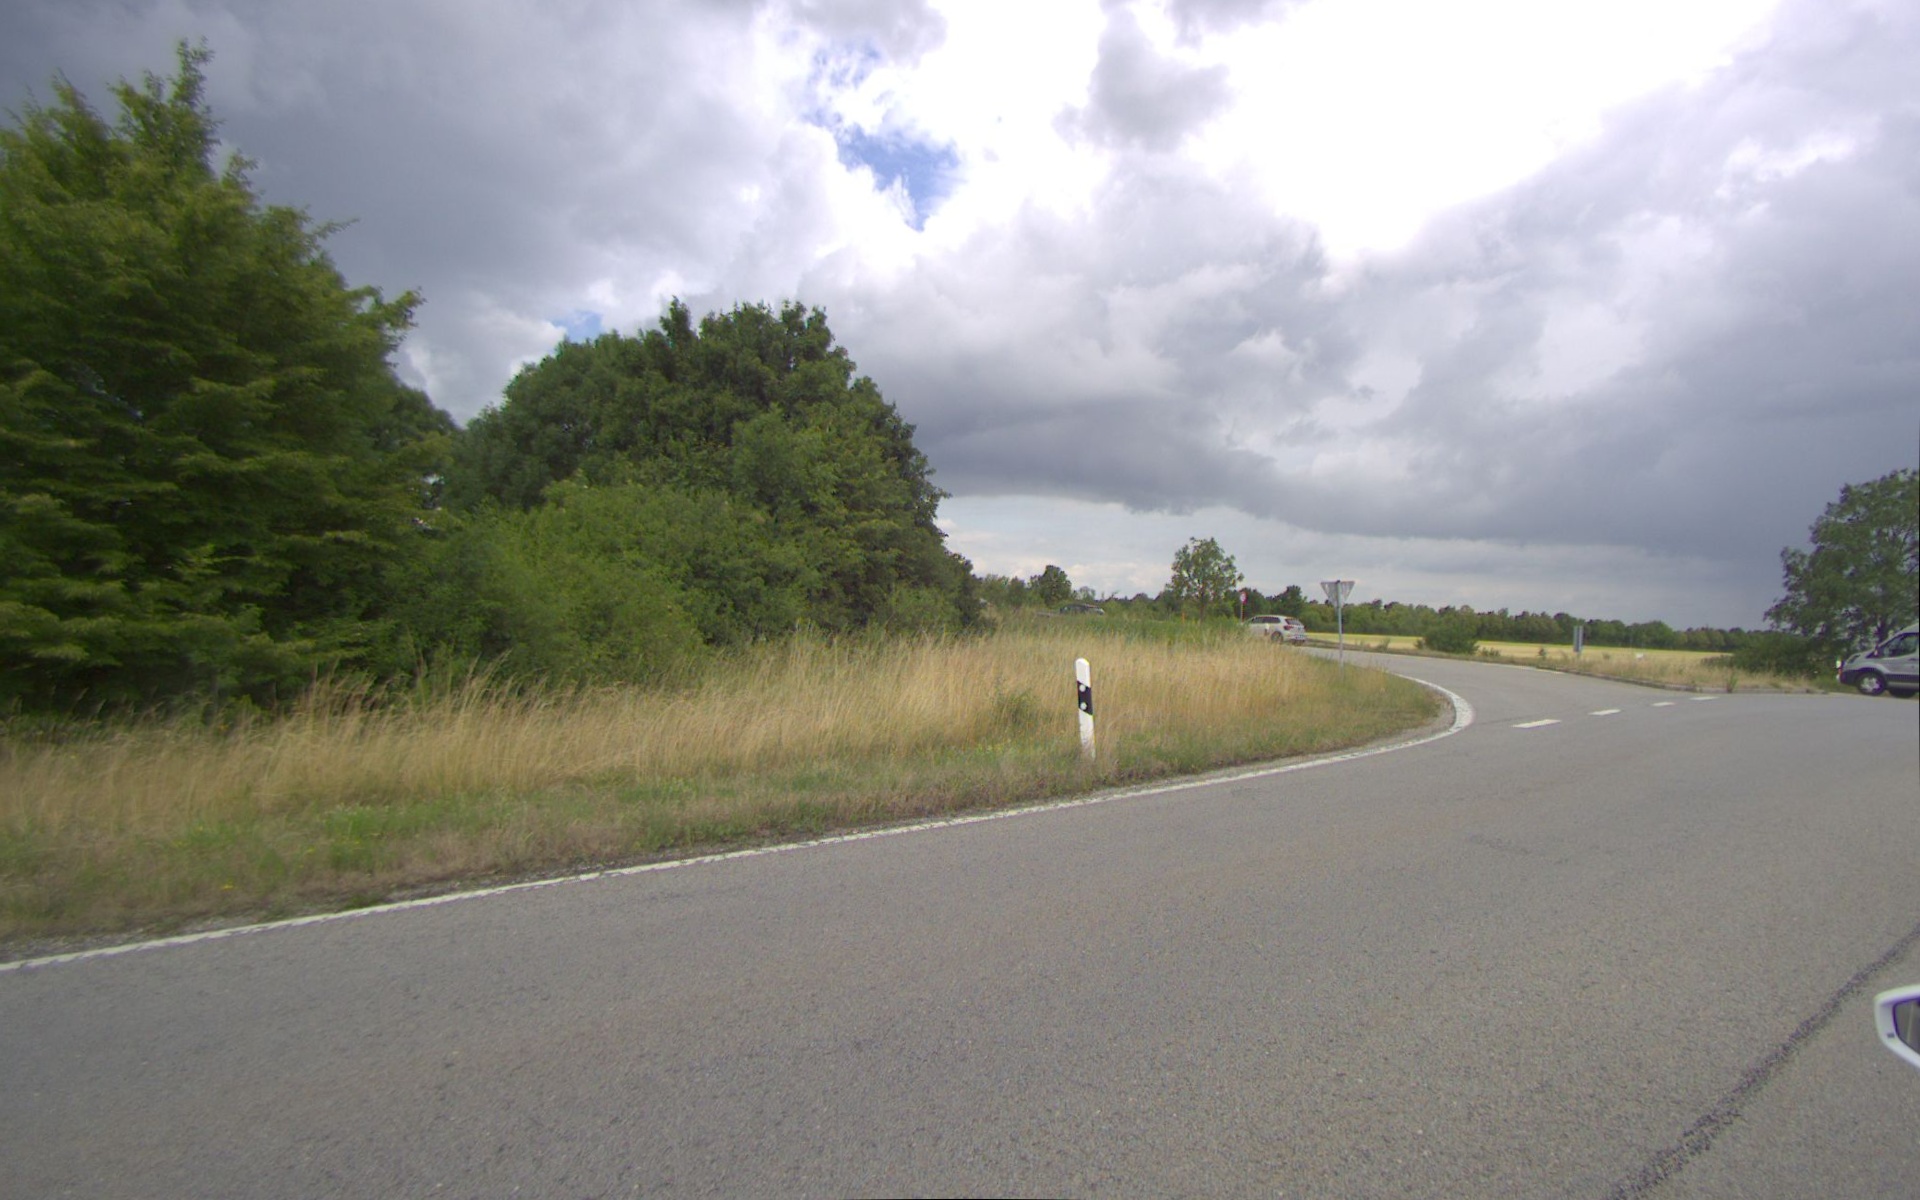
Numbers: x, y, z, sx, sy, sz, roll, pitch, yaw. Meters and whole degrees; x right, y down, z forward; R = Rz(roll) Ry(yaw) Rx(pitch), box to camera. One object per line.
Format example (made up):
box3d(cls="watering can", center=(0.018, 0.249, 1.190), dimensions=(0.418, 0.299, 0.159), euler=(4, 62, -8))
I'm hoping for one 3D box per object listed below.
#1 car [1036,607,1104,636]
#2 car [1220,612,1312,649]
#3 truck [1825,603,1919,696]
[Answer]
box3d(cls="car", center=(6.813, 1.334, 62.490), dimensions=(1.983, 1.684, 3.956), euler=(2, 0, -38))
box3d(cls="car", center=(15.316, 1.533, 50.436), dimensions=(1.983, 1.684, 3.956), euler=(2, 0, -38))
box3d(cls="truck", center=(29.680, 1.523, 29.676), dimensions=(2.035, 2.739, 6.016), euler=(2, 0, -20))
